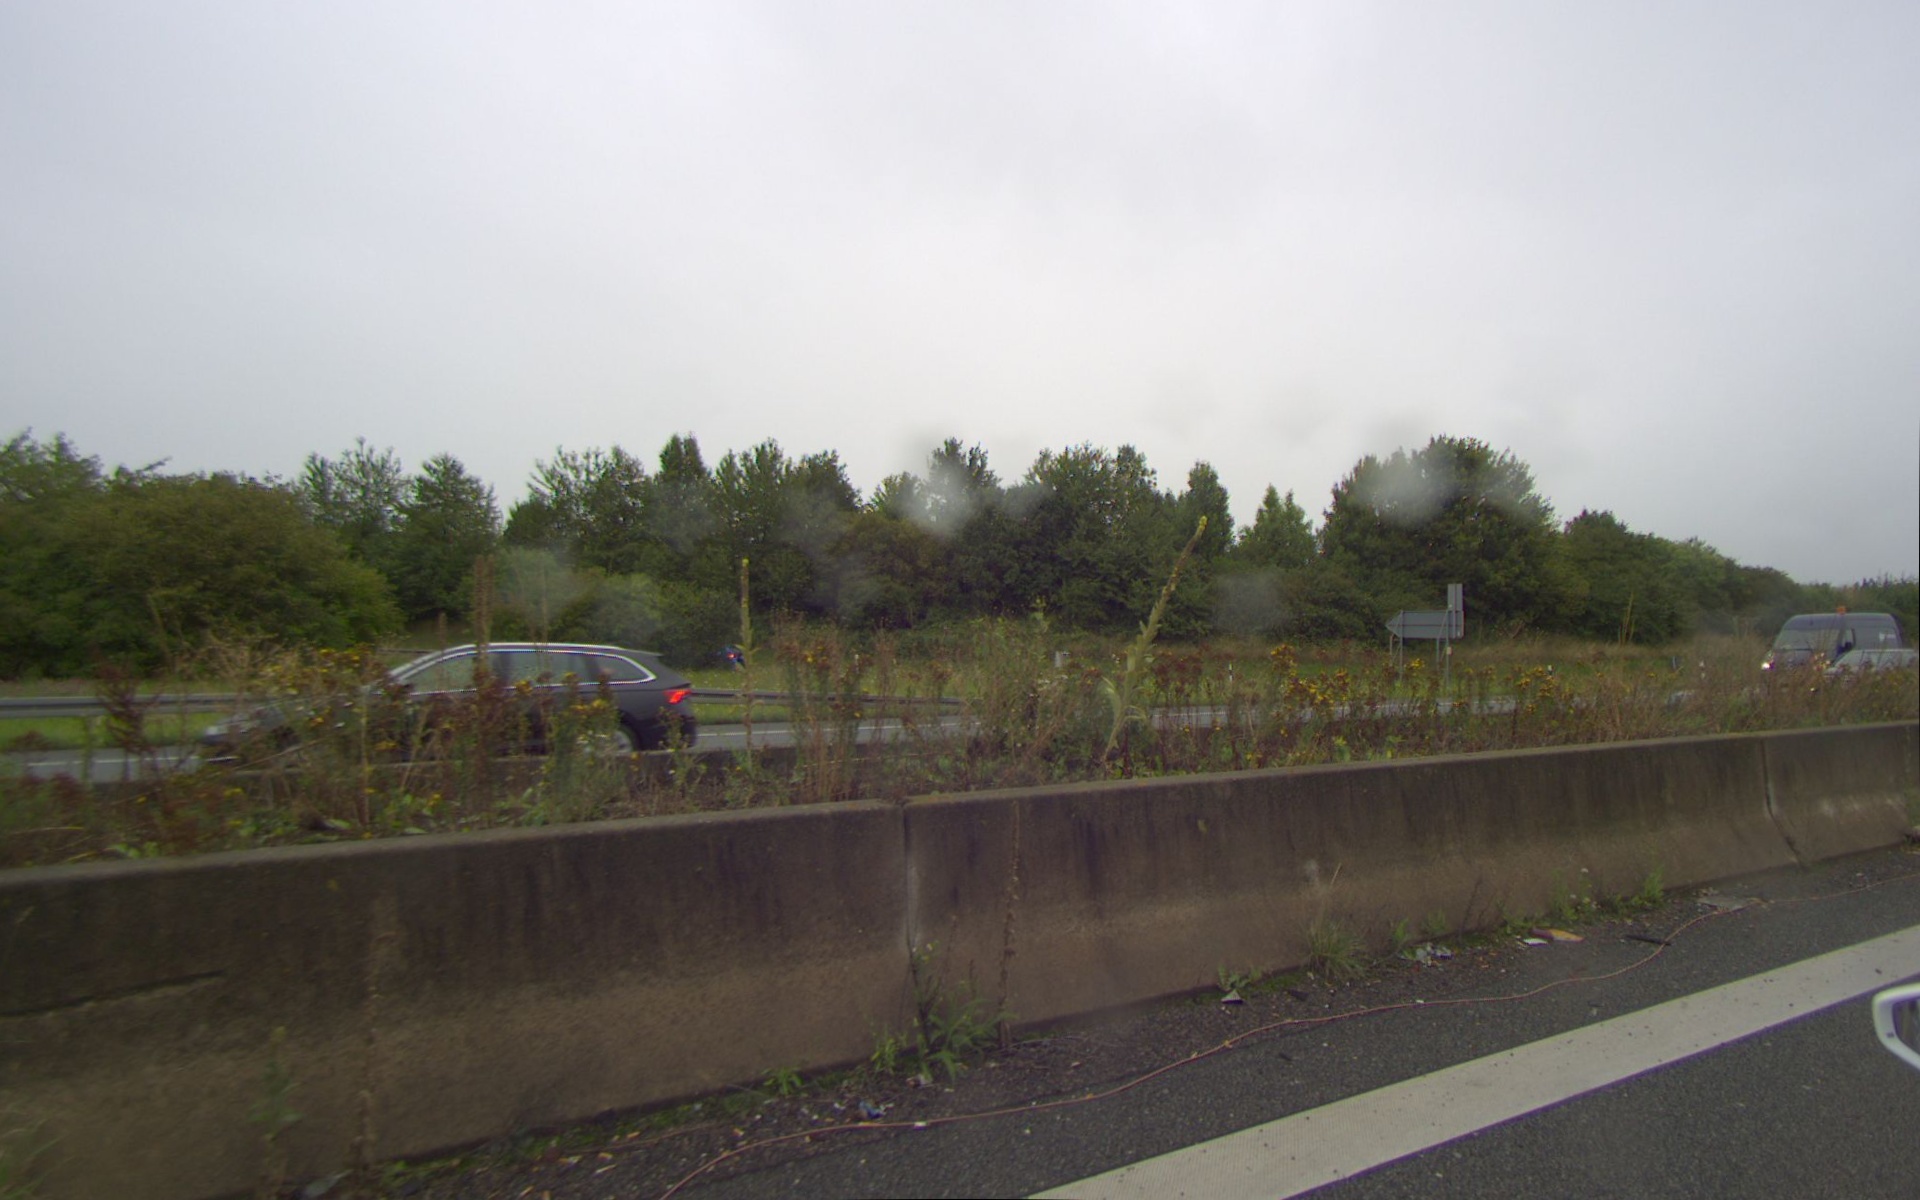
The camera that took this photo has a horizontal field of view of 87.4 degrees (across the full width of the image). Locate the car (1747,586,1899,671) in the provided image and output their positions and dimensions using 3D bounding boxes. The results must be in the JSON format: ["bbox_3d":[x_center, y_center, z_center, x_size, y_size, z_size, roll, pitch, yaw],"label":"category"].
[{"bbox_3d":[28.752,0.977,33.405,5.778,2.644,2.041,2,0,-30],"label":"car"}]

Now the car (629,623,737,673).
[{"bbox_3d":[-12.100,2.103,44.032,4.198,2.138,1.697,0,-2,2],"label":"car"}]

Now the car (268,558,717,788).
[{"bbox_3d":[-4.835,0.706,10.733,3.951,2.040,1.985,2,0,-29],"label":"car"}]
